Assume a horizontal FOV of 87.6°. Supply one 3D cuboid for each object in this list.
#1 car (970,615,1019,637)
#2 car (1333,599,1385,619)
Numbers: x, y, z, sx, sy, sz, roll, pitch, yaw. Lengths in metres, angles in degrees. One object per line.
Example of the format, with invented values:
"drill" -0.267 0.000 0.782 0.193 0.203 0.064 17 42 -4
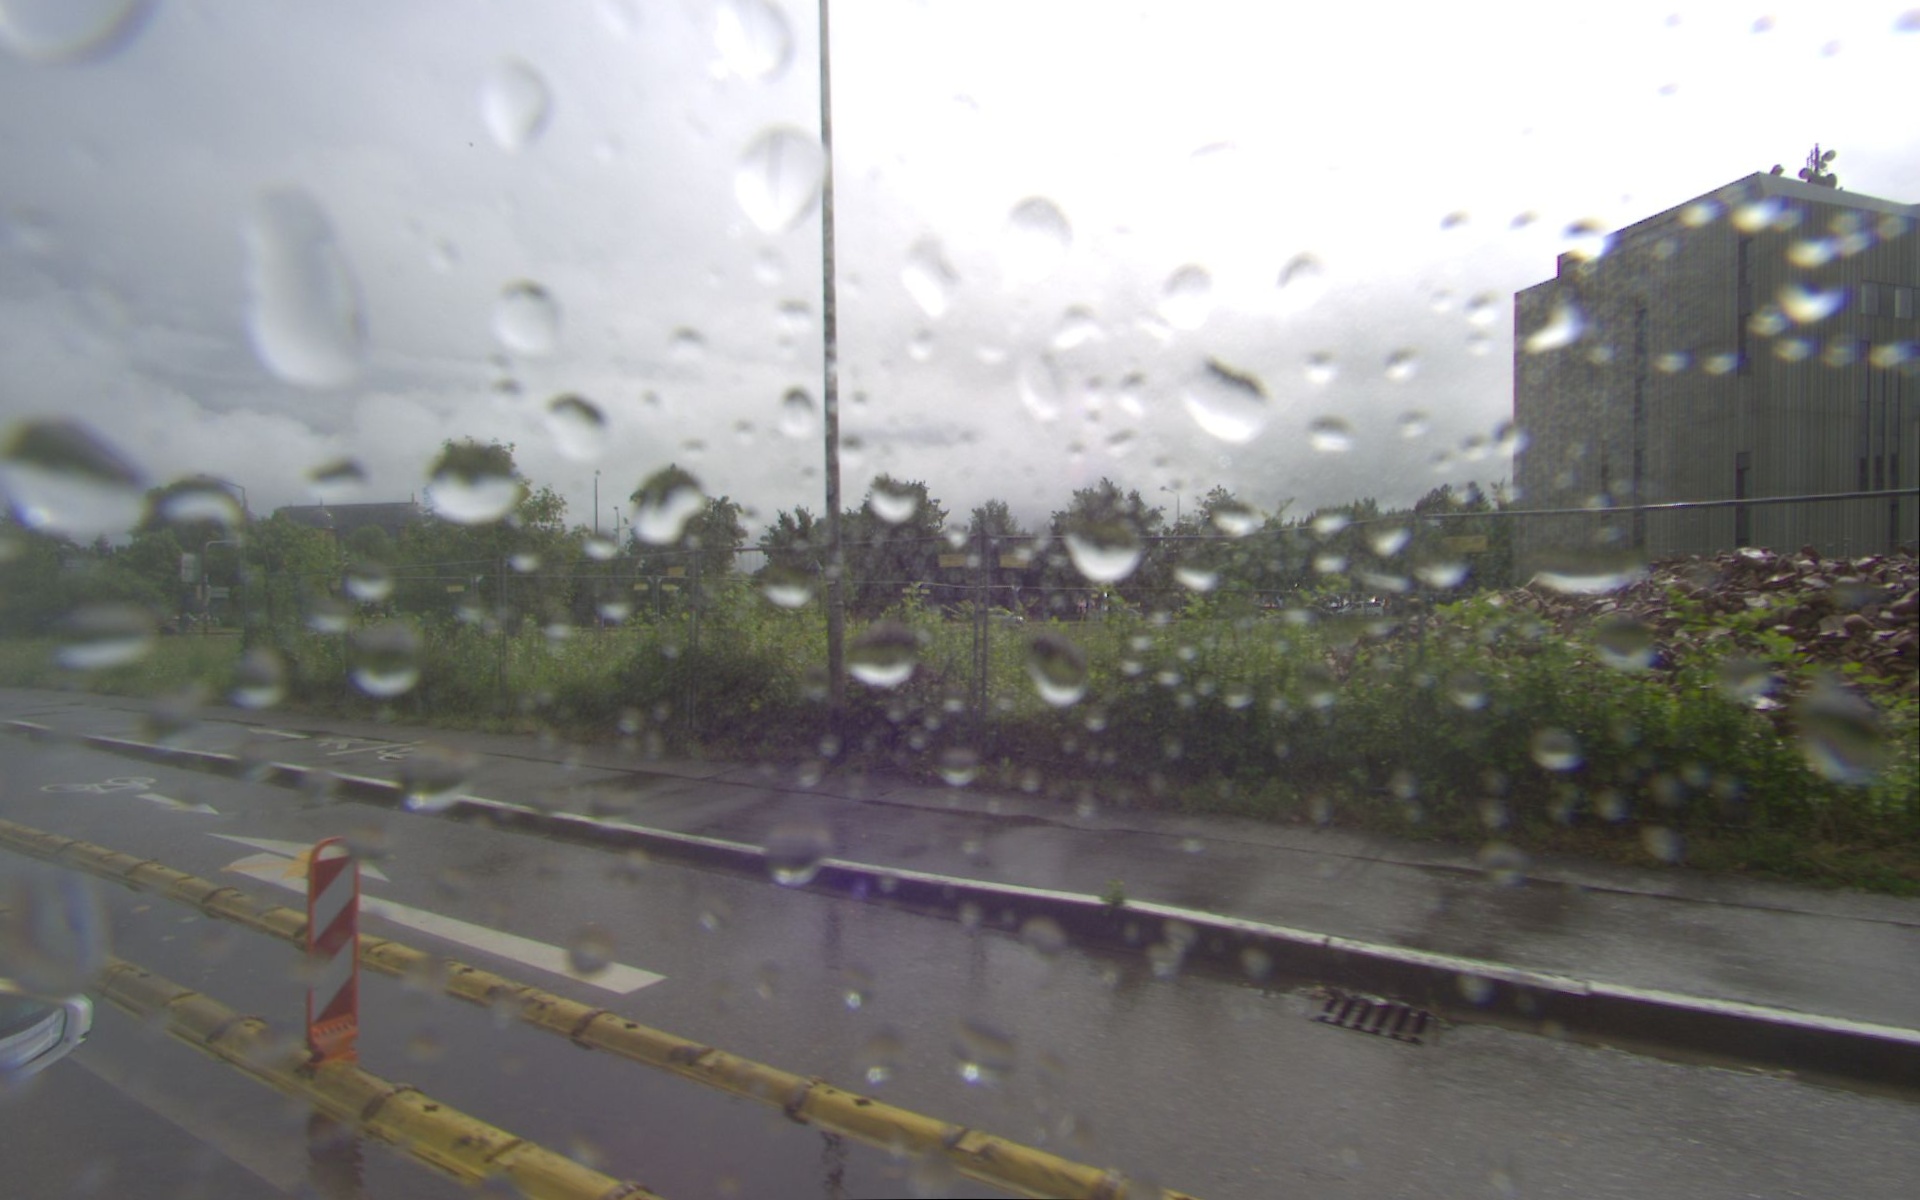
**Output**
"car" 2.620 1.982 76.657 3.465 1.567 1.629 0 0 -14
"car" 41.150 0.928 103.262 4.874 1.944 1.996 0 0 -17
